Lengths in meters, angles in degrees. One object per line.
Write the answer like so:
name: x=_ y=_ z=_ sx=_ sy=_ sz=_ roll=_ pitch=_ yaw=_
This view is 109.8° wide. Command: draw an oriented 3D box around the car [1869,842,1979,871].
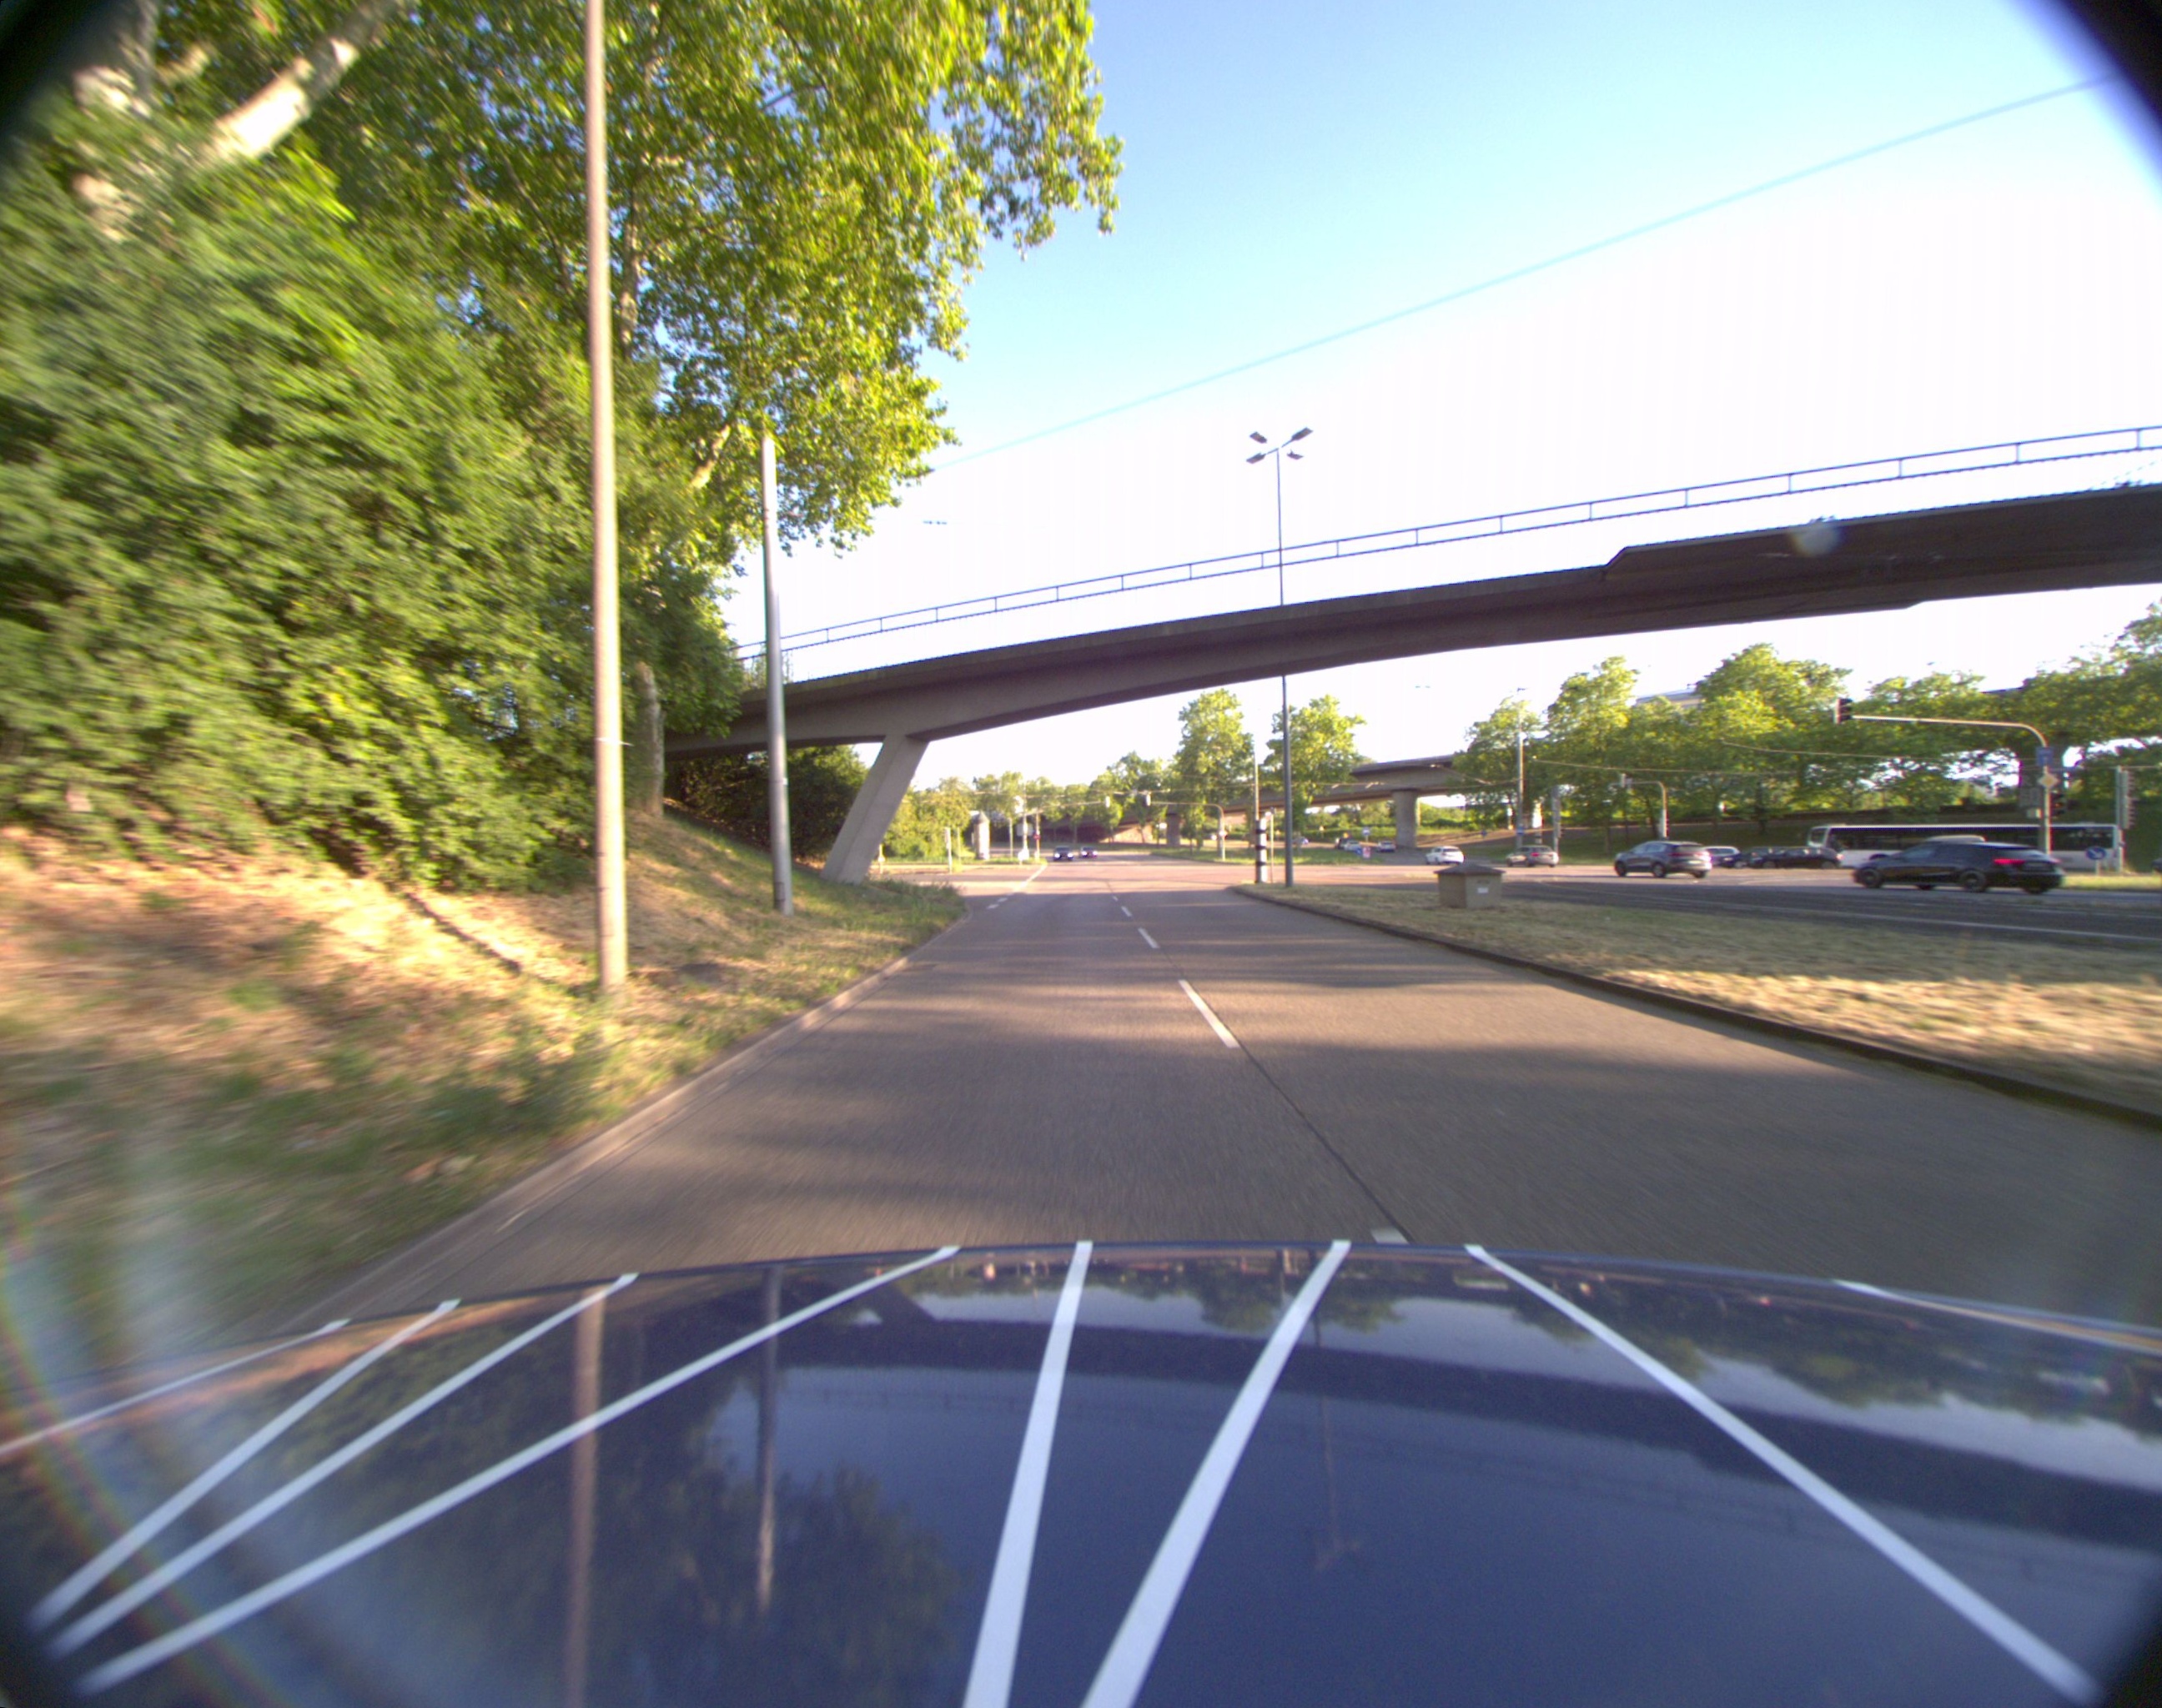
car: x=50.881 y=0.128 z=45.966 sx=4.085 sy=1.643 sz=1.719 roll=0 pitch=2 yaw=22

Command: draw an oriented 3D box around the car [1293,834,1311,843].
car: x=42.233 y=-2.934 z=145.111 sx=1.999 sy=1.550 sz=3.932 roll=-1 pitch=1 yaw=-4

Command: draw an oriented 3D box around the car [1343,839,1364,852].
car: x=36.531 y=-1.160 z=101.912 sx=1.854 sy=1.600 sz=4.310 roll=0 pitch=1 yaw=9

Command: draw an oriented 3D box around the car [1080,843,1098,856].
car: x=0.981 y=-0.536 z=93.966 sx=1.998 sy=1.477 sz=4.001 roll=-1 pitch=0 yaw=3

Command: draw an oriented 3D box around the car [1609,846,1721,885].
car: x=26.331 y=0.467 z=34.443 sx=1.795 sy=1.641 sz=4.357 roll=-1 pitch=1 yaw=1

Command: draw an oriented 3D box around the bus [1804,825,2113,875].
bus: x=54.936 y=-0.251 z=48.244 sx=12.821 sy=2.938 sz=2.835 roll=0 pitch=2 yaw=23

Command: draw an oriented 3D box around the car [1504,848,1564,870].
car: x=31.560 y=0.299 z=53.070 sx=2.009 sy=1.435 sz=4.255 roll=-1 pitch=1 yaw=7

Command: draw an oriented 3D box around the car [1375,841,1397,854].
car: x=39.690 y=-0.833 z=98.932 sx=1.854 sy=1.600 sz=4.373 roll=0 pitch=1 yaw=10

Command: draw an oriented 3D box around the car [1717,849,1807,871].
car: x=43.740 y=0.397 z=48.886 sx=3.991 sy=1.346 sz=1.611 roll=0 pitch=2 yaw=19

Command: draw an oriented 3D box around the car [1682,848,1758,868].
car: x=44.304 y=0.254 z=52.783 sx=3.726 sy=1.346 sz=1.611 roll=0 pitch=2 yaw=19

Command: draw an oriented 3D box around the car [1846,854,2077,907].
car: x=25.198 y=0.695 z=22.031 sx=1.691 sy=1.302 sz=4.308 roll=-1 pitch=1 yaw=-1

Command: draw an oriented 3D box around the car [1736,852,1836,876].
car: x=42.734 y=0.597 z=46.138 sx=4.085 sy=1.346 sz=1.719 roll=0 pitch=2 yaw=22

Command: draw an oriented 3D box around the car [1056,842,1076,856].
car: x=-1.685 y=-0.507 z=84.369 sx=1.999 sy=1.477 sz=3.998 roll=-1 pitch=0 yaw=-4

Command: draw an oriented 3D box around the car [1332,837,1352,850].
car: x=39.334 y=-1.594 z=114.492 sx=1.855 sy=1.856 sz=4.146 roll=-1 pitch=1 yaw=4

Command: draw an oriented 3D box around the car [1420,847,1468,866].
car: x=28.595 y=0.169 z=60.004 sx=2.009 sy=1.435 sz=4.862 roll=-1 pitch=1 yaw=8

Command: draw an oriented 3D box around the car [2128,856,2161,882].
car: x=64.437 y=0.855 z=44.081 sx=3.990 sy=1.434 sz=1.707 roll=0 pitch=2 yaw=22
